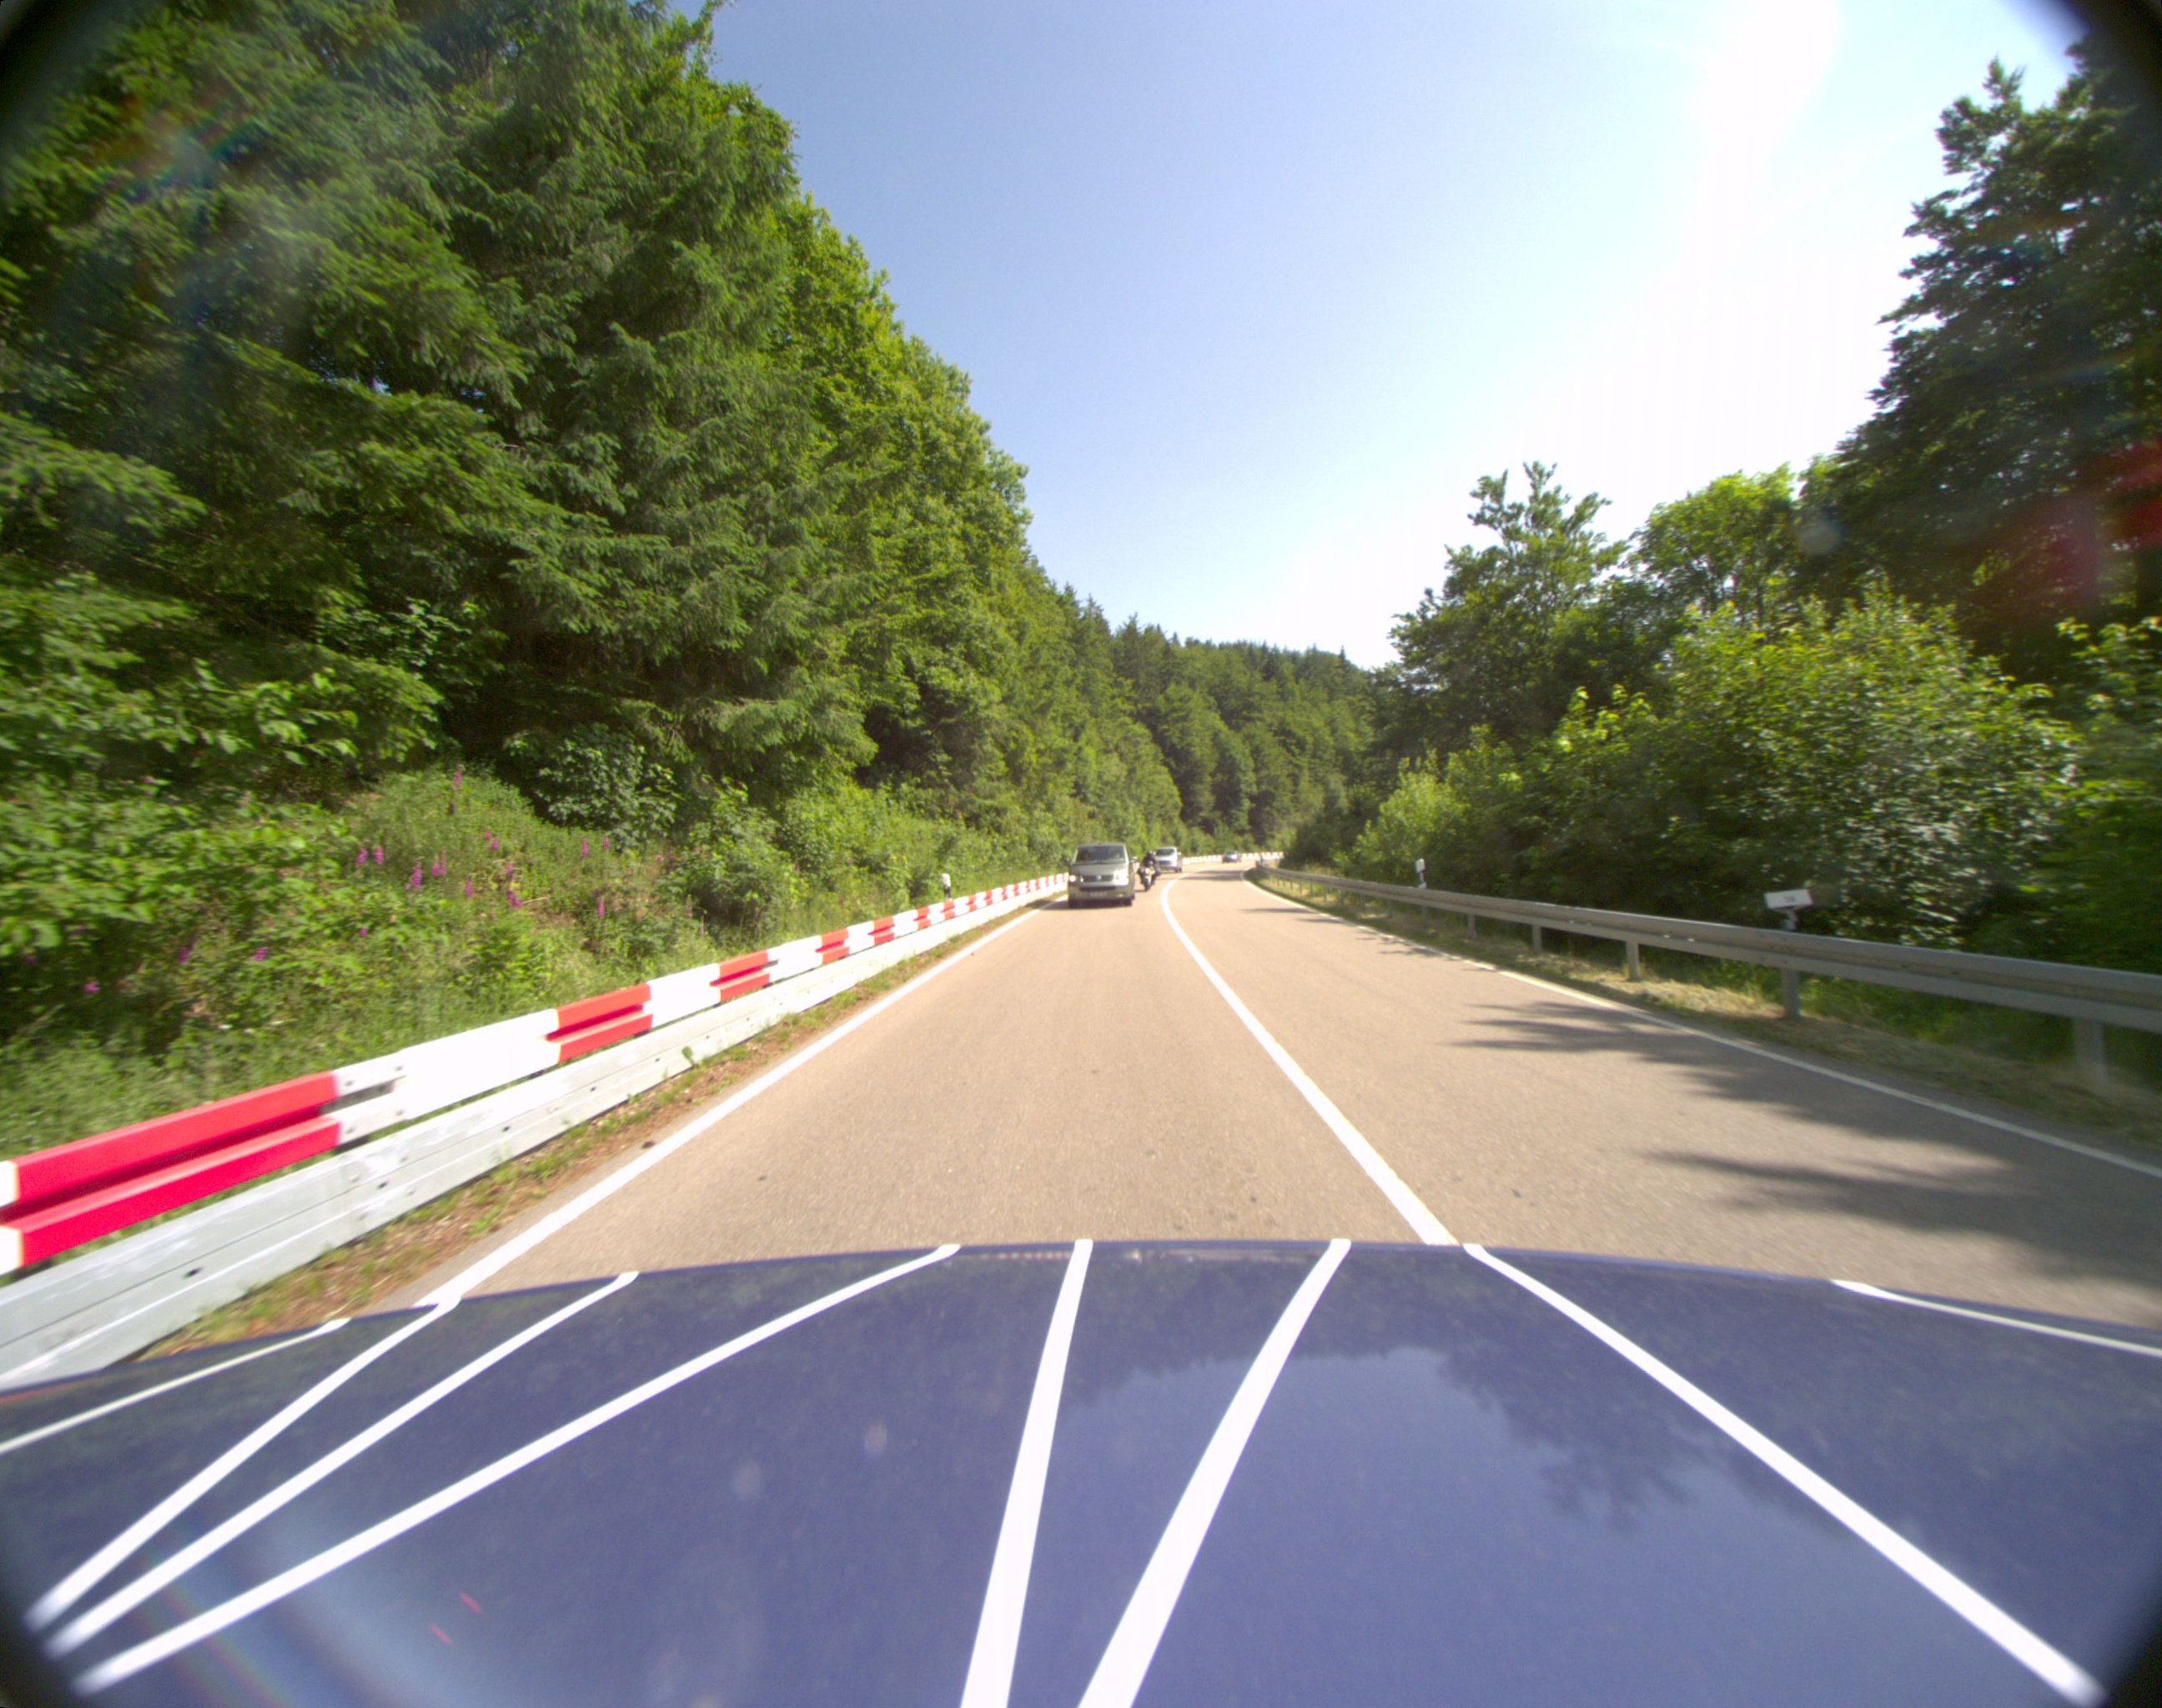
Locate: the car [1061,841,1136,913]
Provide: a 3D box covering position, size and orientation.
[{"bbox_3d":[0.646,0.632,23.906,2.029,1.940,4.900,-2,1,4],"label":"car"}]

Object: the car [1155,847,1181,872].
[{"bbox_3d":[6.407,0.355,55.528,1.652,1.749,3.797,-2,1,9],"label":"car"}]

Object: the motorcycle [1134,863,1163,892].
[{"bbox_3d":[2.732,0.944,30.837,1.109,1.116,1.961,-1,0,4],"label":"motorcycle"}]

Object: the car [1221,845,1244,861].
[{"bbox_3d":[17.906,-0.127,89.740,1.996,1.633,4.005,-3,0,19],"label":"car"}]

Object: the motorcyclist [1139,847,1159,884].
[{"bbox_3d":[2.742,0.470,30.712,0.716,1.421,0.999,-4,0,4],"label":"motorcyclist"}]
